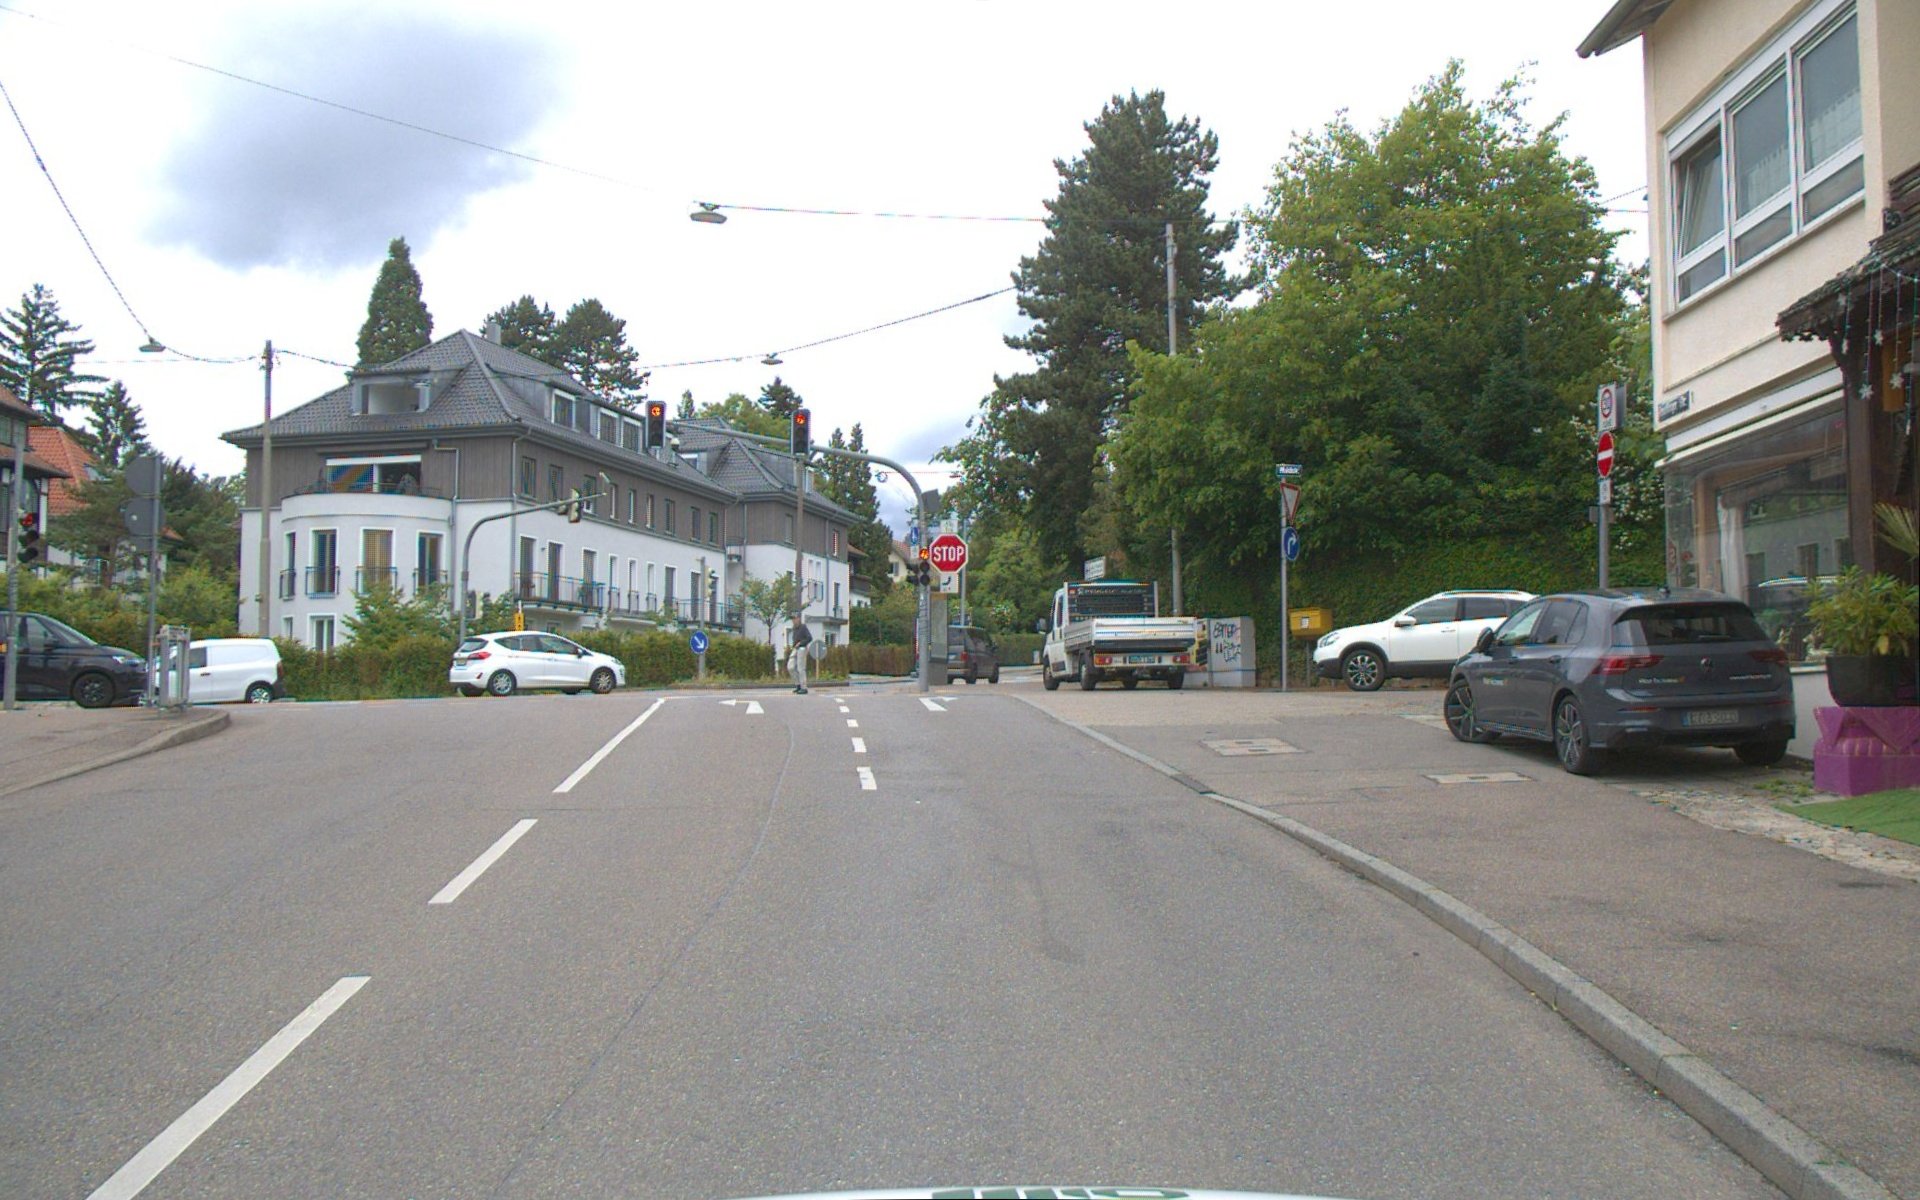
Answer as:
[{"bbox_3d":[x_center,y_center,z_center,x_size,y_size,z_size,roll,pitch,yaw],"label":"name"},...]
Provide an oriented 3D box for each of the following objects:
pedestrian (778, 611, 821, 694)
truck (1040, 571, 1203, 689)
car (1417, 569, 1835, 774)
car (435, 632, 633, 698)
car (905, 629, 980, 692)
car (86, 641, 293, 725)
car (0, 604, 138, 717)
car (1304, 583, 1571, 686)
[{"bbox_3d":[-3.363,1.082,34.604,0.690,1.711,0.680,0,0,-27],"label":"pedestrian"},{"bbox_3d":[3.214,0.714,34.330,2.142,2.234,5.871,0,-3,-7],"label":"truck"},{"bbox_3d":[5.739,0.560,14.928,1.811,1.498,4.383,-3,0,-2],"label":"car"},{"bbox_3d":[-9.676,1.439,37.692,3.964,1.407,1.908,1,-1,-41],"label":"car"},{"bbox_3d":[-0.557,2.036,55.955,1.951,2.049,4.512,0,-2,7],"label":"car"},{"bbox_3d":[-19.323,2.023,41.602,1.966,1.889,4.323,0,0,44],"label":"car"},{"bbox_3d":[-18.284,1.113,31.377,4.707,2.049,1.983,2,0,-26],"label":"car"},{"bbox_3d":[8.008,0.632,27.928,4.150,1.622,1.989,-1,-4,16],"label":"car"}]
